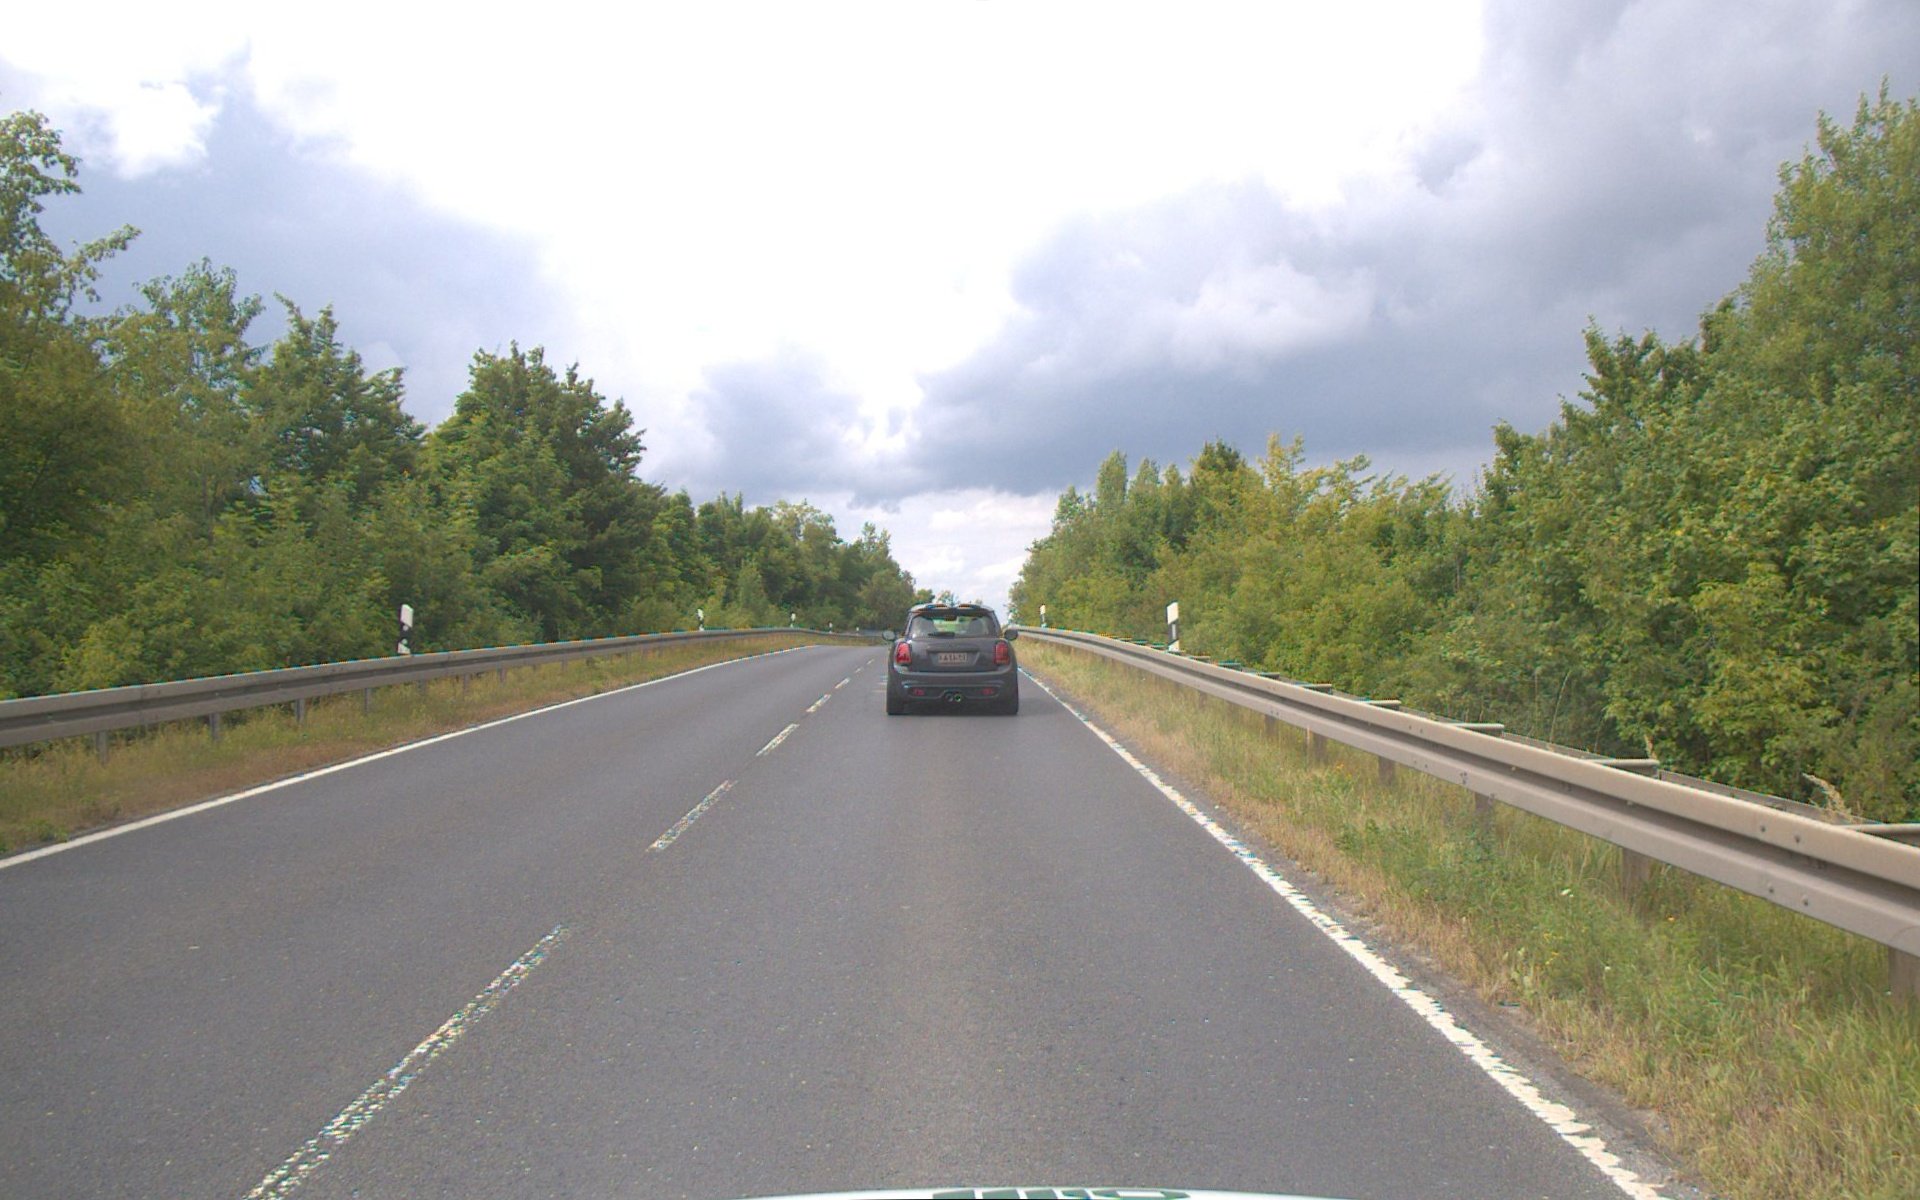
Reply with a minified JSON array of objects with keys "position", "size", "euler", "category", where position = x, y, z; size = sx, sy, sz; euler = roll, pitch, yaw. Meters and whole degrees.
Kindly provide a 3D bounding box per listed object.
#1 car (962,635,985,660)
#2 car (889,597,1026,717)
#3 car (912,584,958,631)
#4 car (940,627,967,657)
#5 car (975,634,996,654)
[{"position":[1.198,4.241,148.515],"size":[1.952,2.049,4.000],"euler":[-2,0,1],"category":"car"},{"position":[-0.044,0.714,22.608],"size":[1.697,1.481,3.999],"euler":[0,0,-1],"category":"car"},{"position":[-1.148,0.325,75.123],"size":[1.981,2.048,3.999],"euler":[-1,0,-1],"category":"car"},{"position":[-0.493,3.076,122.796],"size":[1.953,2.049,3.999],"euler":[-2,0,-1],"category":"car"},{"position":[2.672,4.553,170.867],"size":[1.952,2.049,4.001],"euler":[0,-1,3],"category":"car"}]
